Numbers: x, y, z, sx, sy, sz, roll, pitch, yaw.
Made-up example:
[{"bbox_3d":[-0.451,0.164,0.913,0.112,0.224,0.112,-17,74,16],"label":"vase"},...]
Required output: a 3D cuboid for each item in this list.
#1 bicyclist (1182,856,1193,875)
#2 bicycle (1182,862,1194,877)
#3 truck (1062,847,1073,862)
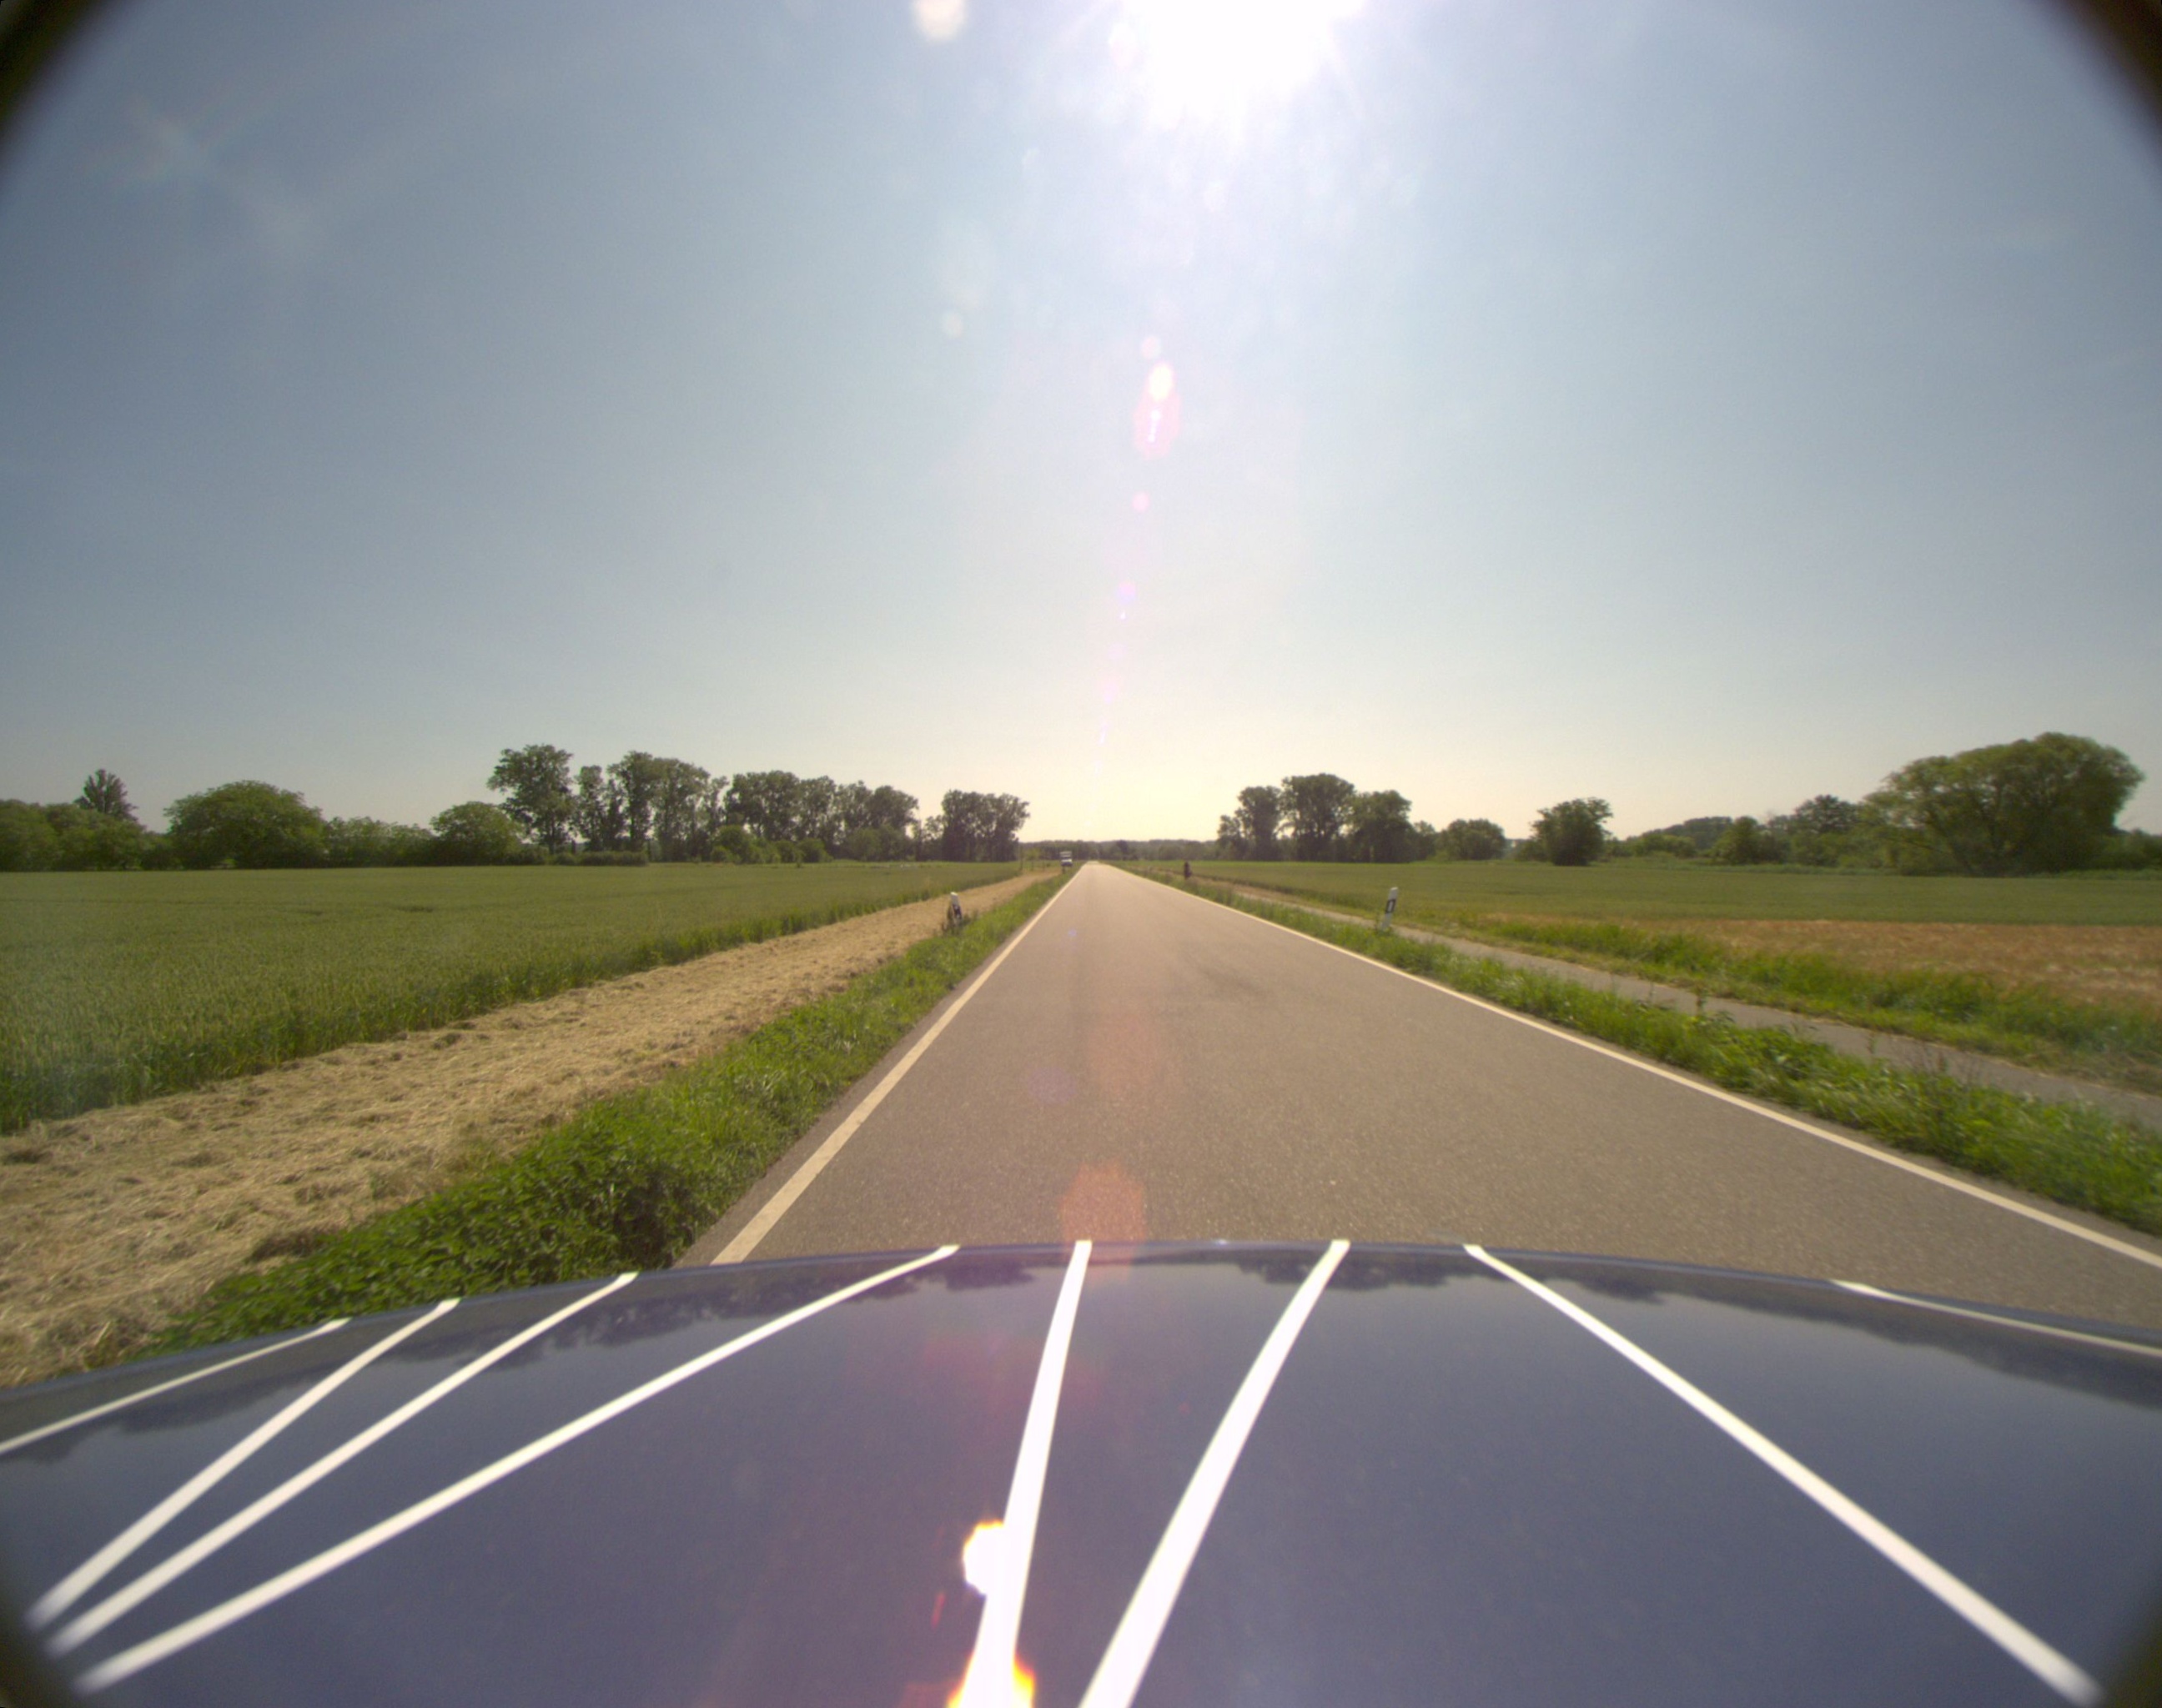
[{"bbox_3d":[8.570,0.901,61.093,0.743,1.488,1.003,0,1,1],"label":"bicyclist"},{"bbox_3d":[8.581,1.205,61.097,0.743,1.165,2.082,0,0,1],"label":"bicycle"},{"bbox_3d":[-2.497,0.121,141.426,1.998,2.821,5.218,0,0,1],"label":"truck"}]
